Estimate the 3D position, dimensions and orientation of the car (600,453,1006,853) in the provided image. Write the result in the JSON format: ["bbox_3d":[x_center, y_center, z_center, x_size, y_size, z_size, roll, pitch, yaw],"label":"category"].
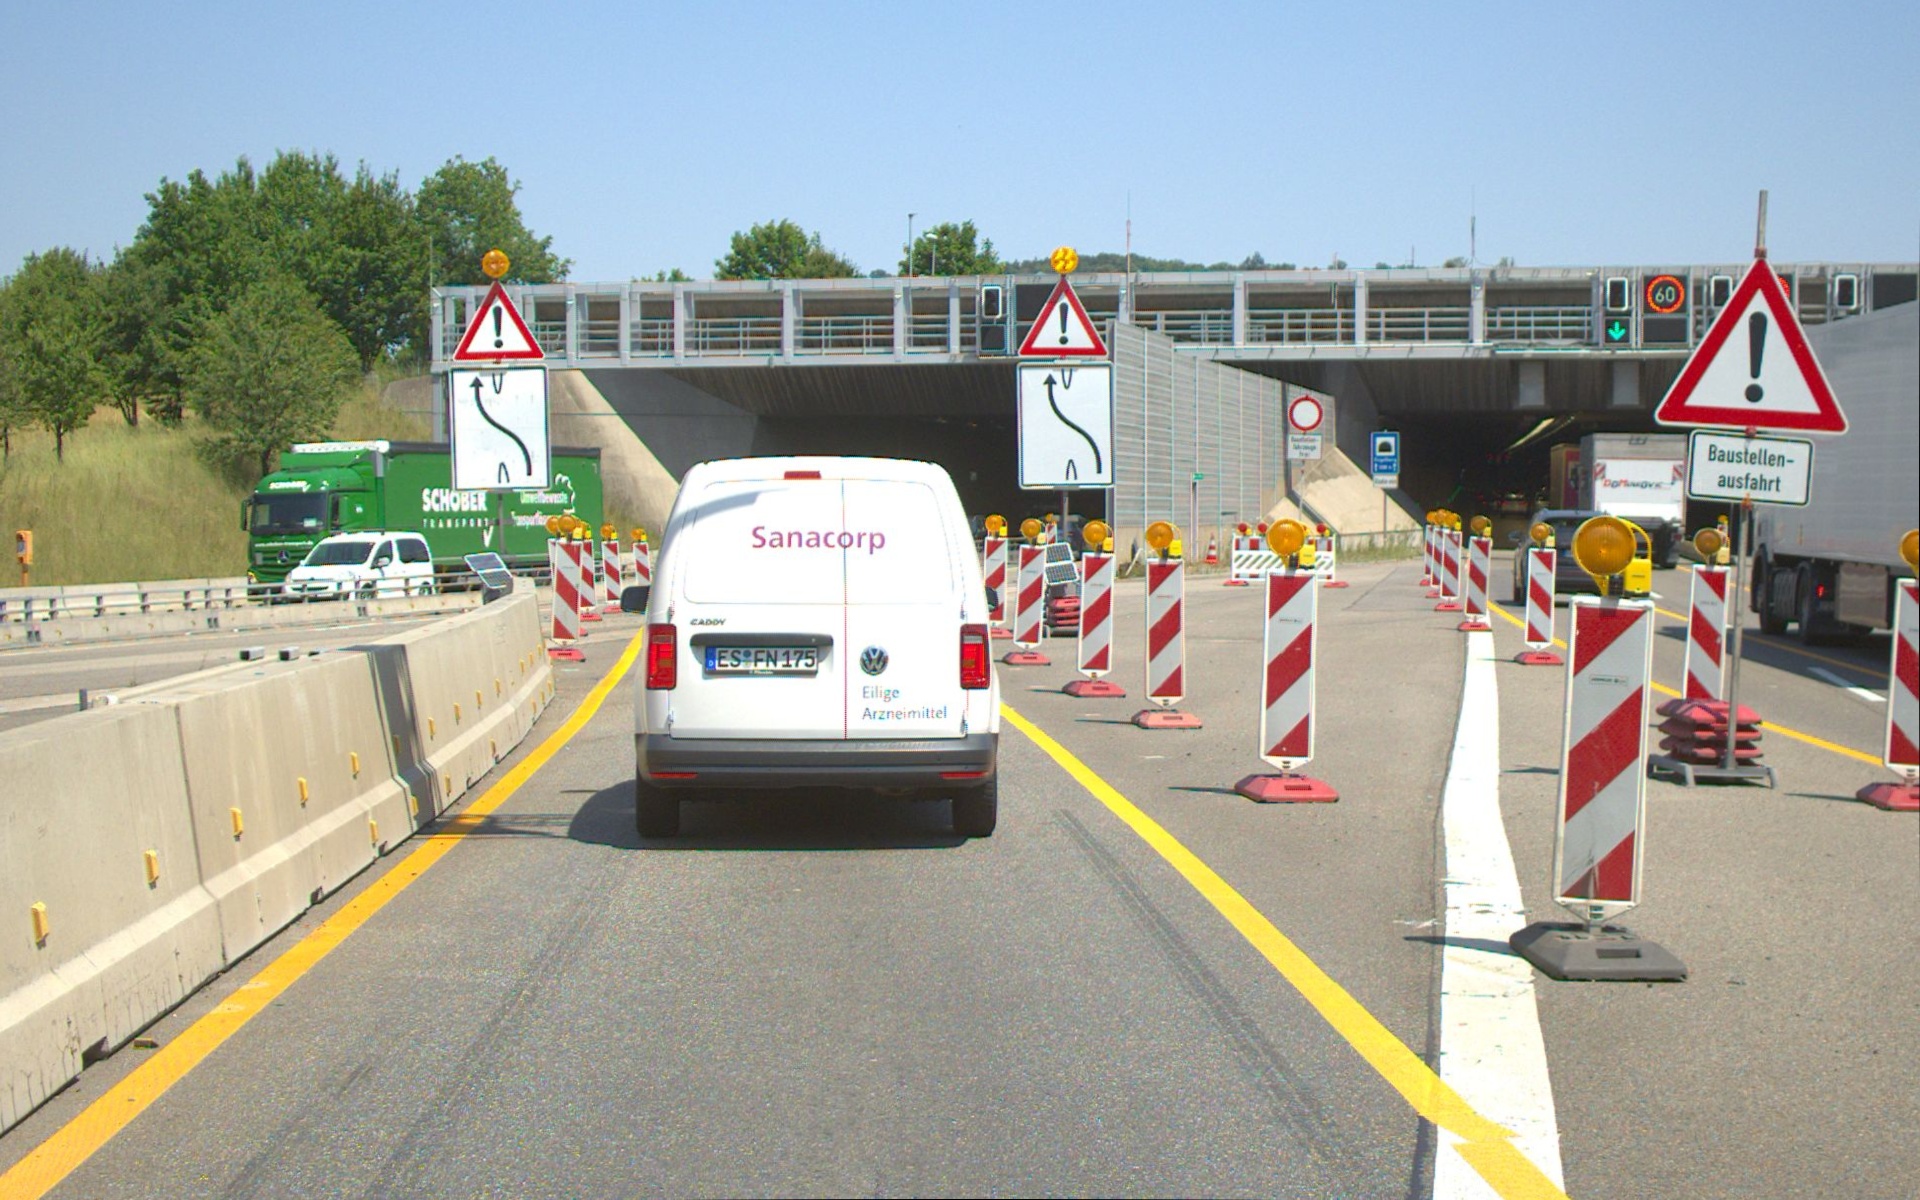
[{"bbox_3d":[-0.786,0.201,17.457,1.808,1.788,3.731,-1,1,-2],"label":"car"}]

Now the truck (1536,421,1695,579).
[{"bbox_3d":[19.638,-2.840,104.055,3.402,4.320,16.532,2,1,7],"label":"truck"}]

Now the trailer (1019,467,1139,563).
[{"bbox_3d":[5.666,-3.992,160.848,2.437,4.282,13.800,0,1,15],"label":"trailer"}]

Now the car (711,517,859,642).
[{"bbox_3d":[-2.352,-0.300,45.207,1.808,1.532,4.410,-1,1,-4],"label":"car"}]

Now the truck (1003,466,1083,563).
[{"bbox_3d":[3.728,-3.831,153.846,2.433,4.255,4.835,0,1,15],"label":"truck"}]

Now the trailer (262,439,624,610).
[{"bbox_3d":[-13.641,-2.009,92.801,3.549,4.255,13.895,1,1,19],"label":"trailer"}]

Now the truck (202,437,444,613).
[{"bbox_3d":[-15.926,-1.885,86.322,3.549,4.255,5.773,1,1,19],"label":"truck"}]

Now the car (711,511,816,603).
[{"bbox_3d":[-3.989,-0.899,70.422,1.808,1.809,4.410,-1,1,1],"label":"car"}]

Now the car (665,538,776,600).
[{"bbox_3d":[-6.528,-0.864,94.169,1.717,1.618,4.167,0,1,16],"label":"car"}]

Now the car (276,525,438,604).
[{"bbox_3d":[-12.707,-0.775,72.708,1.717,1.618,4.167,1,1,16],"label":"car"}]

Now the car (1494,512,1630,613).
[{"bbox_3d":[10.294,-0.660,59.067,1.815,1.624,4.190,1,1,4],"label":"car"}]

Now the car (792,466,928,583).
[{"bbox_3d":[-2.443,-1.847,85.981,2.814,2.764,7.101,1,1,3],"label":"car"}]

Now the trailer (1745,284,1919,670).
[{"bbox_3d":[11.584,-1.322,39.043,2.733,4.048,14.094,1,1,3],"label":"trailer"}]

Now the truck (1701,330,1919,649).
[{"bbox_3d":[11.997,-1.454,46.739,2.745,4.019,5.926,1,1,3],"label":"truck"}]

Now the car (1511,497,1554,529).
[{"bbox_3d":[34.741,-5.277,208.783,2.332,1.832,4.543,1,1,7],"label":"car"}]

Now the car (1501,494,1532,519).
[{"bbox_3d":[36.792,-6.185,227.480,1.815,1.624,4.189,1,1,7],"label":"car"}]

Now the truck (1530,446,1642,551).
[{"bbox_3d":[25.828,-4.111,142.656,3.402,4.057,16.533,1,1,7],"label":"truck"}]
